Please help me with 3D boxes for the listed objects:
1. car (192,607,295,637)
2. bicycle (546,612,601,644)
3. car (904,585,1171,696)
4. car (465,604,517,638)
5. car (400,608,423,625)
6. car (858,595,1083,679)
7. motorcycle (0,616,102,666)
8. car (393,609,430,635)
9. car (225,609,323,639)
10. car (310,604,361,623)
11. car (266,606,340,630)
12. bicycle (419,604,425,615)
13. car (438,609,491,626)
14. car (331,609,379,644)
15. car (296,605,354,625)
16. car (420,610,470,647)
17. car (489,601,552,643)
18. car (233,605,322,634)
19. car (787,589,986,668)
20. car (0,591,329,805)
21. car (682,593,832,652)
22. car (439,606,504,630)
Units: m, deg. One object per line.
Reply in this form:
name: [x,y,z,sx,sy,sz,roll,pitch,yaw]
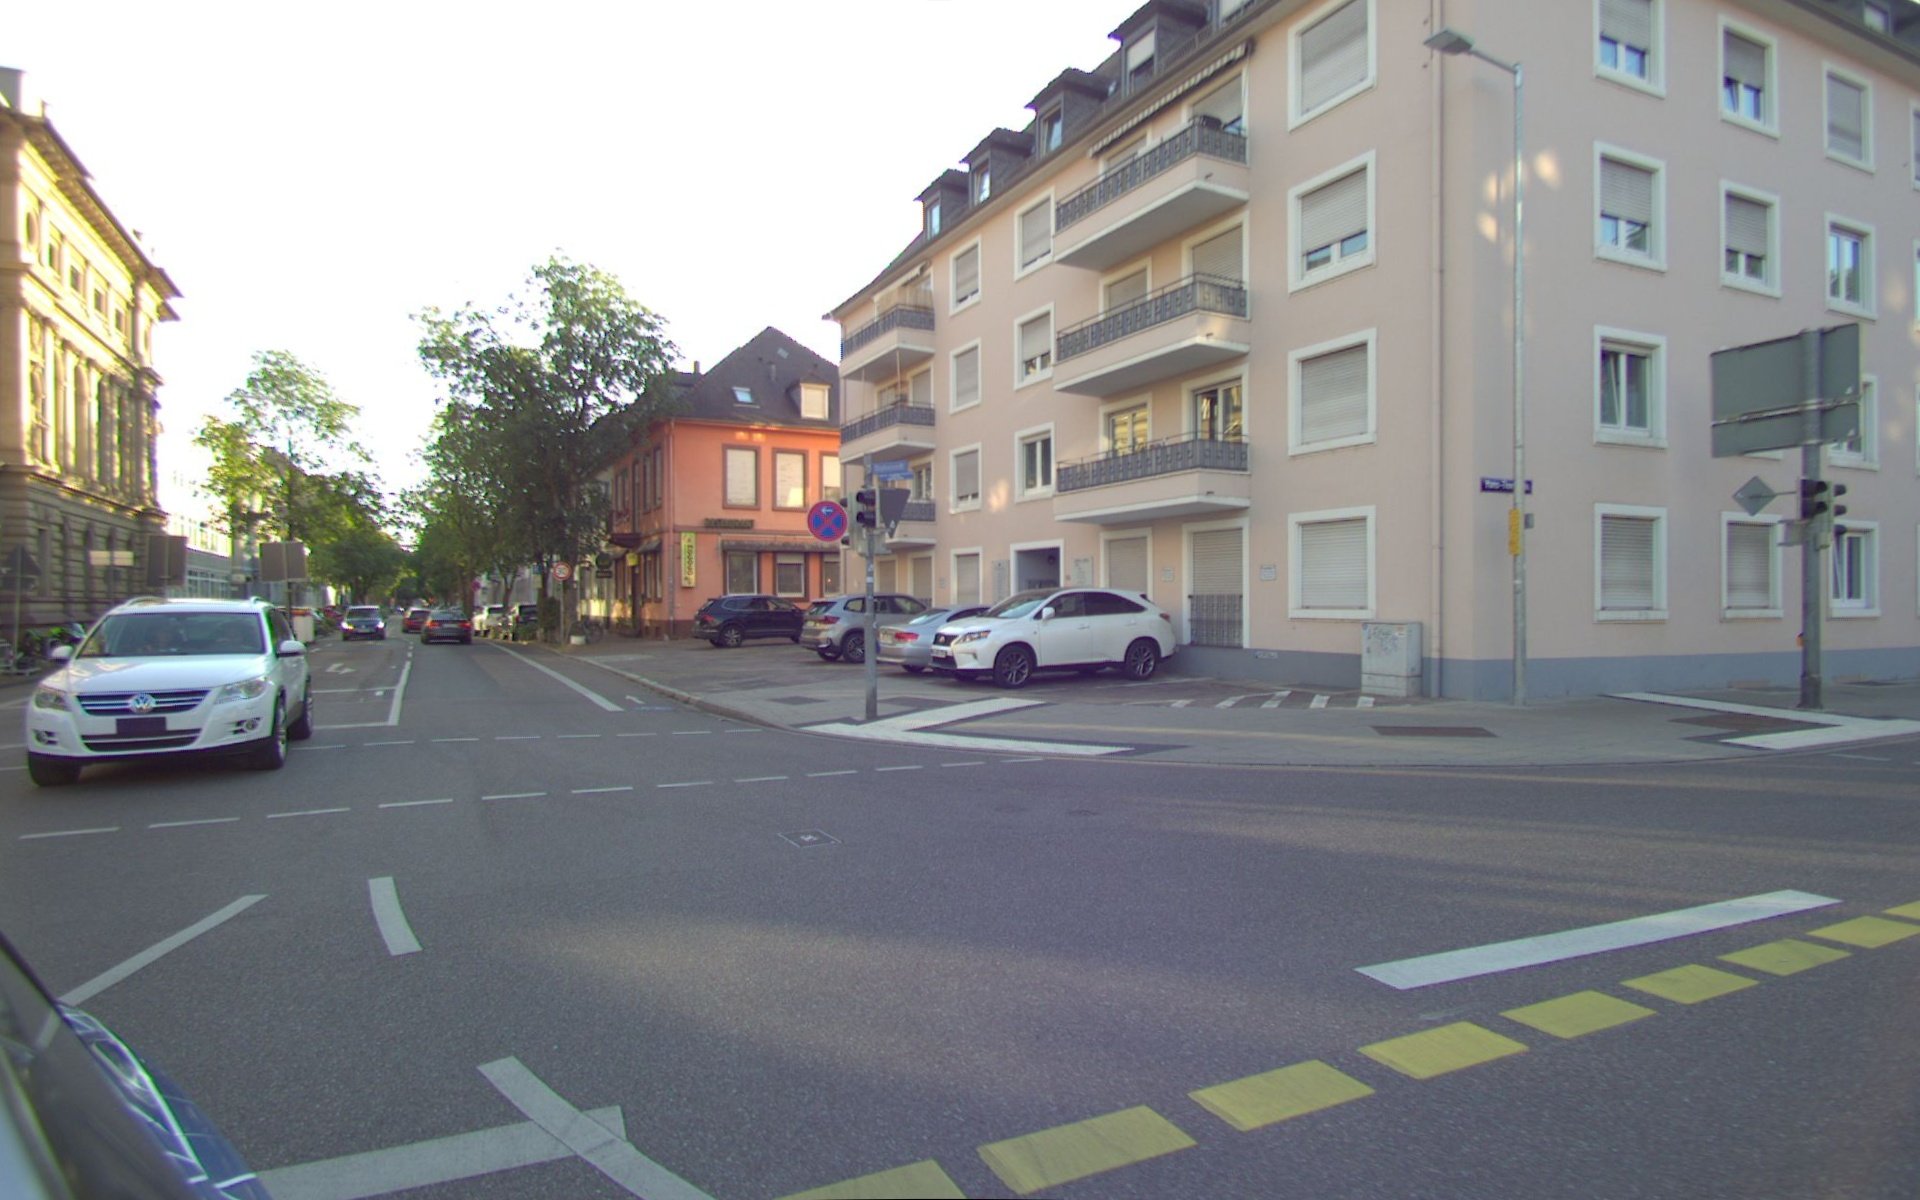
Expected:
car: [-37.881,1.180,53.669,4.297,1.475,1.839,3,-2,-32]
bicycle: [-14.432,1.033,37.792,1.841,1.112,0.612,-1,0,-35]
car: [1.415,0.638,18.075,4.379,1.653,1.948,-2,1,-29]
car: [-26.033,1.134,56.106,1.804,1.680,4.668,-5,2,-34]
car: [-47.654,1.457,87.879,1.635,1.483,3.865,1,-2,-31]
car: [0.239,0.685,20.450,4.207,1.391,1.741,-2,1,-29]
motorcycle: [-23.928,1.071,26.633,2.076,1.224,0.710,2,-1,2]
car: [-33.766,1.357,62.203,1.805,1.557,4.862,1,-1,-31]
car: [-38.212,1.328,56.484,4.296,1.506,1.678,2,-2,-28]
car: [-63.080,1.387,102.295,4.296,1.887,1.739,1,-1,-31]
car: [-46.470,1.285,71.675,4.296,1.636,1.739,2,-1,-31]
bicycle: [-60.463,1.035,113.790,0.616,1.164,2.059,0,1,-28]
car: [-44.677,1.574,91.255,4.160,1.519,1.806,0,0,-31]
car: [-28.905,1.223,48.432,1.919,1.567,4.012,0,-1,-30]
car: [-57.643,1.367,91.957,4.296,1.792,1.739,2,-1,-31]
car: [-21.863,1.174,42.861,1.757,1.470,4.437,1,0,-28]
car: [-21.345,1.025,49.027,1.804,1.772,5.062,-5,2,-34]
car: [-41.706,1.183,61.972,4.296,1.655,2.060,2,-2,-31]
car: [-1.759,0.629,24.467,4.357,1.617,1.922,-2,1,-29]
car: [-7.817,0.782,10.432,1.924,1.689,4.557,0,0,-28]
car: [-6.601,0.689,32.998,4.357,1.678,1.870,-2,1,-29]
car: [-36.237,1.298,75.082,4.160,1.702,1.806,0,0,-31]
